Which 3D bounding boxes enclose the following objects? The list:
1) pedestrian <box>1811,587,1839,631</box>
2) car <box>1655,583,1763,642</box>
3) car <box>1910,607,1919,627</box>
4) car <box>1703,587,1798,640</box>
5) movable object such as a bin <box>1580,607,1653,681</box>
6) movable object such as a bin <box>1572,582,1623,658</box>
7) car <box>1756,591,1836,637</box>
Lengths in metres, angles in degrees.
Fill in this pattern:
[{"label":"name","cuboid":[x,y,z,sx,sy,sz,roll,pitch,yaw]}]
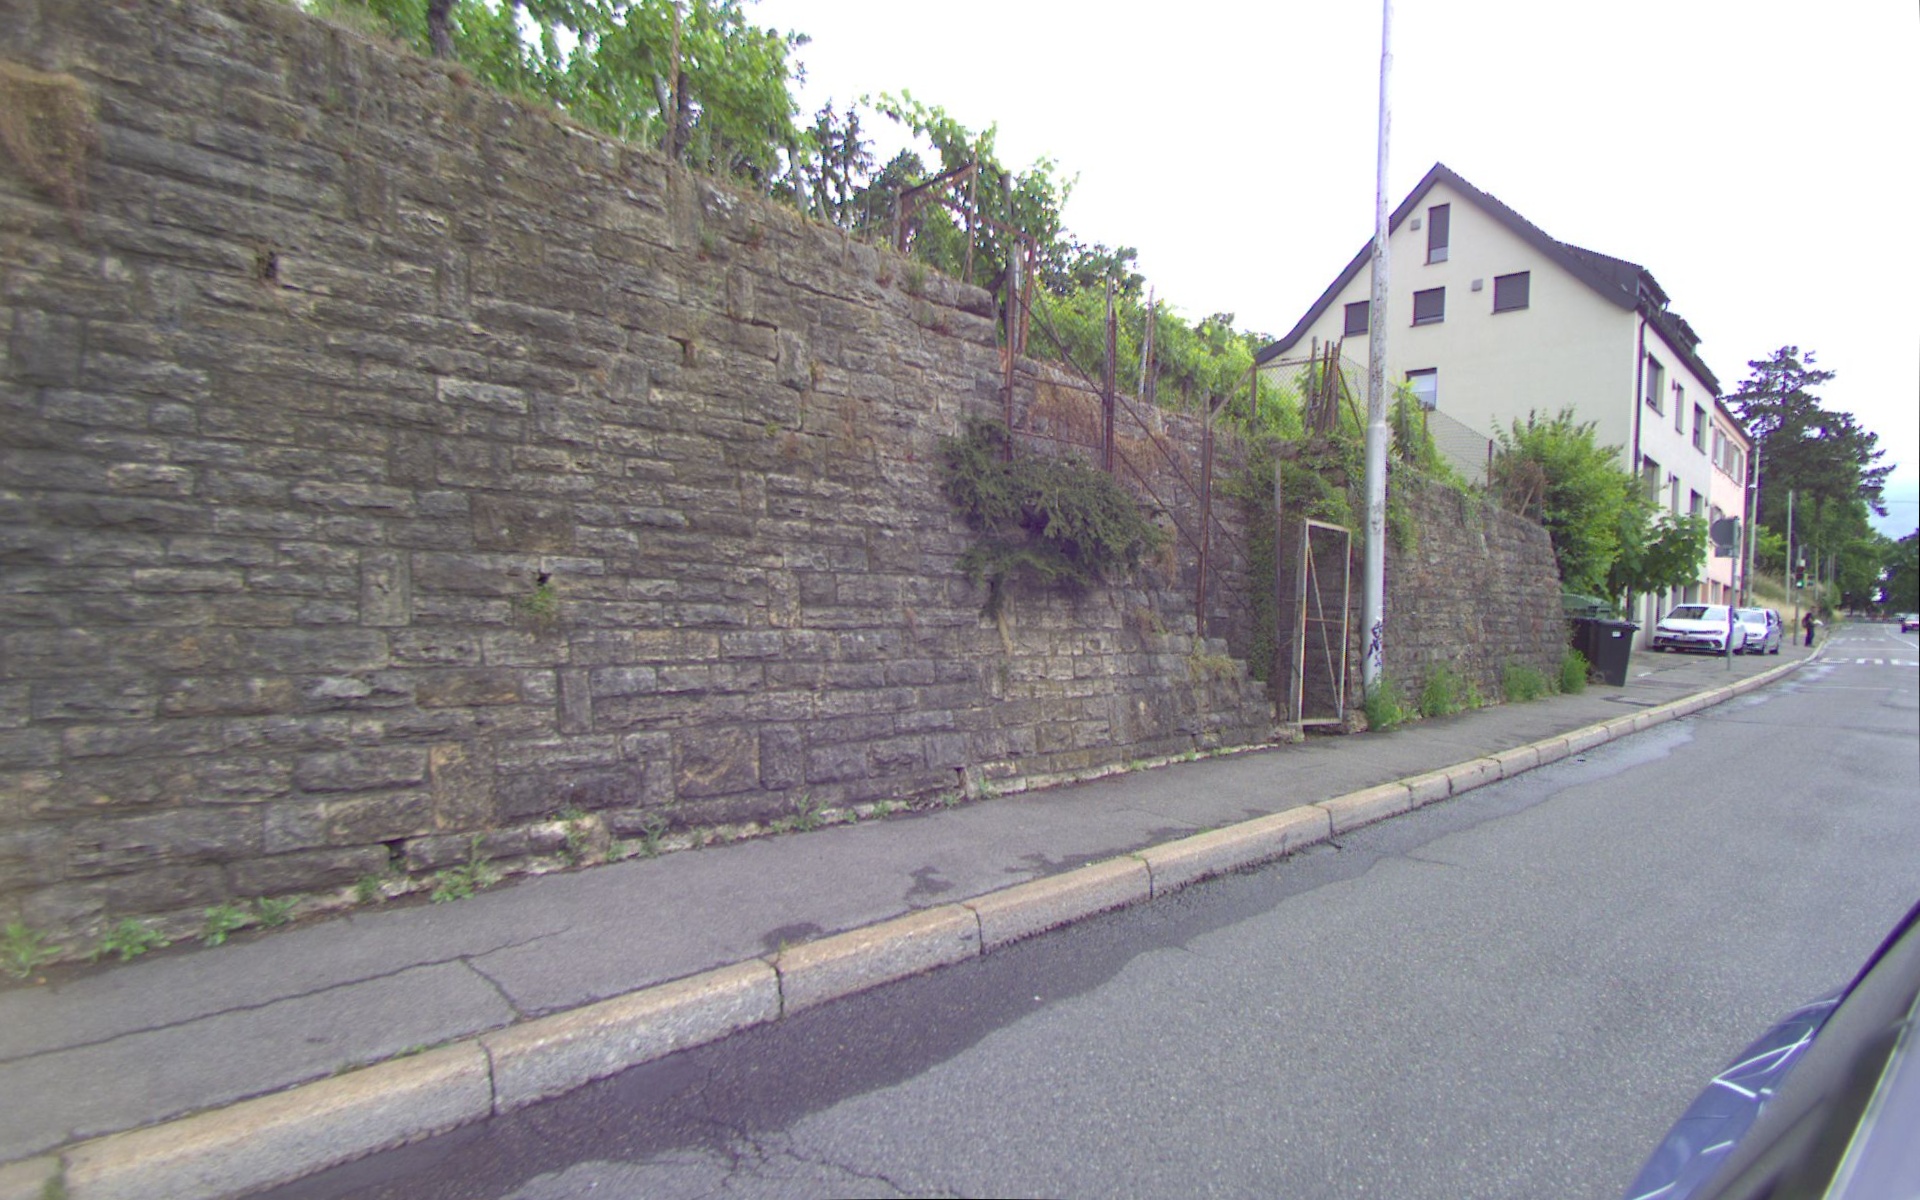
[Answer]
[{"label":"pedestrian","cuboid":[35.408,0.362,41.419,0.683,1.733,0.735,1,1,-40]},{"label":"car","cuboid":[21.512,0.310,29.021,3.987,1.594,1.796,-1,1,-43]},{"label":"car","cuboid":[72.896,1.316,76.319,3.934,1.456,1.643,1,1,-45]},{"label":"car","cuboid":[25.051,0.376,32.023,4.177,1.594,1.730,-1,1,-43]},{"label":"movable object such as a bin","cuboid":[10.720,0.702,16.528,0.860,1.140,0.810,1,1,-43]},{"label":"movable object such as a bin","cuboid":[13.568,0.410,21.539,0.750,1.561,1.049,2,0,41]},{"label":"car","cuboid":[31.176,0.470,37.692,4.180,1.594,1.904,-1,1,-45]}]
